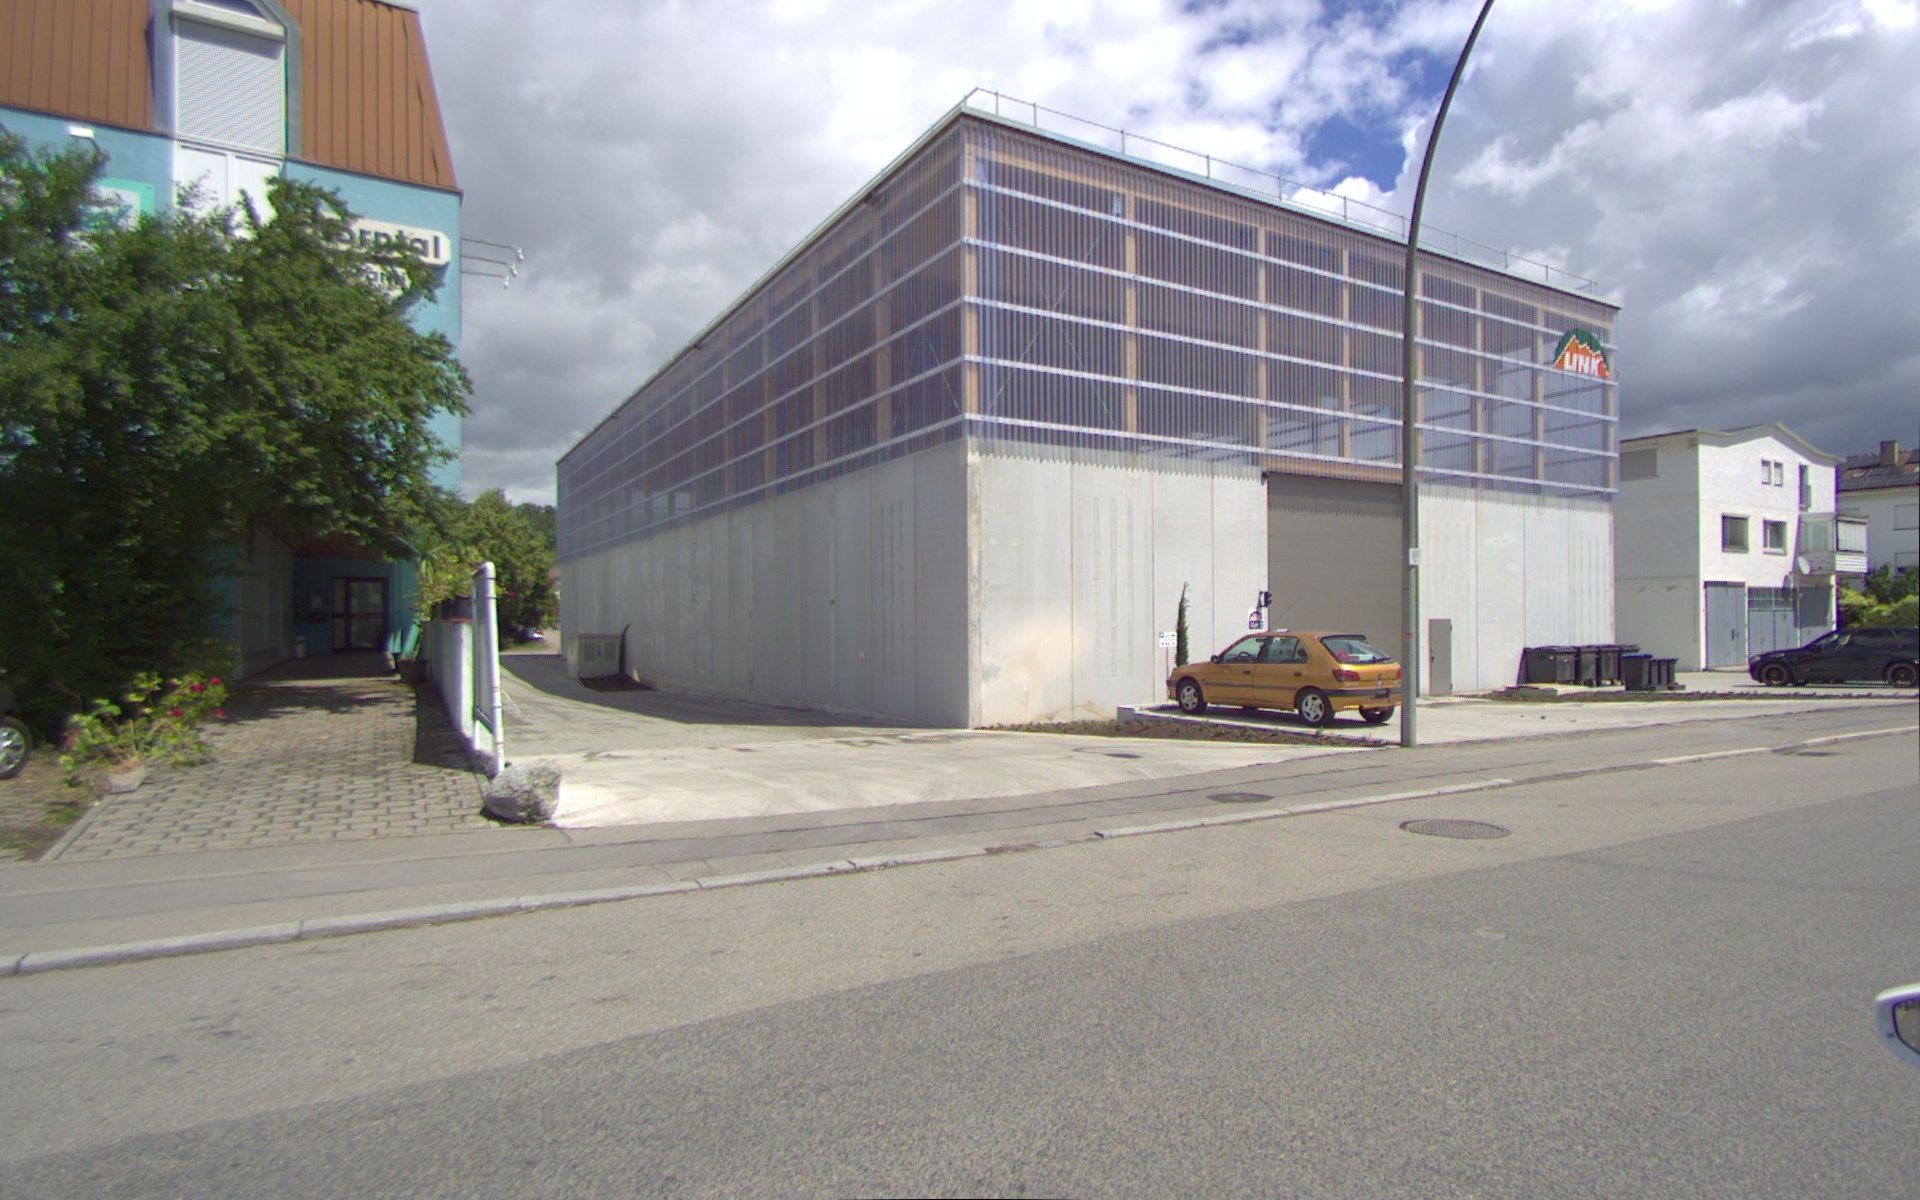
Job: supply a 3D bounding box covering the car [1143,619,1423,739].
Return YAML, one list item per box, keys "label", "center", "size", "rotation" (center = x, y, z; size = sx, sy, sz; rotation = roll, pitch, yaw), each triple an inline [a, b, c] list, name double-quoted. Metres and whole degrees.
- label: "car"
  center: [5.078, 1.161, 16.349]
  size: [1.806, 1.512, 4.125]
  rotation: [0, 1, -33]

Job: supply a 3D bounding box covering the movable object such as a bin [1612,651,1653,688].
- label: "movable object such as a bin"
  center: [19.673, 2.018, 29.381]
  size: [0.703, 1.044, 0.740]
  rotation: [0, -2, -29]

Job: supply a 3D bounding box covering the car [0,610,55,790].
- label: "car"
  center: [-8.897, 0.845, 7.760]
  size: [1.954, 1.553, 3.614]
  rotation: [1, -1, -28]

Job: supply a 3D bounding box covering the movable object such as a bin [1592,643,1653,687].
- label: "movable object such as a bin"
  center: [21.842, 2.126, 33.127]
  size: [1.796, 1.374, 0.953]
  rotation: [1, -2, -29]

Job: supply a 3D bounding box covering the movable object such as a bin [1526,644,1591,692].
- label: "movable object such as a bin"
  center: [18.642, 2.108, 31.299]
  size: [1.796, 1.374, 0.953]
  rotation: [1, 1, -29]

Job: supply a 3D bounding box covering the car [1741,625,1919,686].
- label: "car"
  center: [25.995, 1.632, 29.260]
  size: [2.174, 1.654, 4.601]
  rotation: [0, -4, -33]

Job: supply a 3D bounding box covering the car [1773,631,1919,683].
- label: "car"
  center: [28.012, 1.750, 30.784]
  size: [1.806, 1.524, 4.437]
  rotation: [0, -4, -33]

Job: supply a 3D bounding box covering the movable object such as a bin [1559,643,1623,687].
- label: "movable object such as a bin"
  center: [20.239, 2.069, 32.217]
  size: [1.796, 1.374, 0.953]
  rotation: [1, -2, -29]

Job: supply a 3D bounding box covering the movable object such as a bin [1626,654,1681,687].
- label: "movable object such as a bin"
  center: [20.647, 2.083, 29.902]
  size: [1.500, 0.931, 0.740]
  rotation: [1, -2, -29]
